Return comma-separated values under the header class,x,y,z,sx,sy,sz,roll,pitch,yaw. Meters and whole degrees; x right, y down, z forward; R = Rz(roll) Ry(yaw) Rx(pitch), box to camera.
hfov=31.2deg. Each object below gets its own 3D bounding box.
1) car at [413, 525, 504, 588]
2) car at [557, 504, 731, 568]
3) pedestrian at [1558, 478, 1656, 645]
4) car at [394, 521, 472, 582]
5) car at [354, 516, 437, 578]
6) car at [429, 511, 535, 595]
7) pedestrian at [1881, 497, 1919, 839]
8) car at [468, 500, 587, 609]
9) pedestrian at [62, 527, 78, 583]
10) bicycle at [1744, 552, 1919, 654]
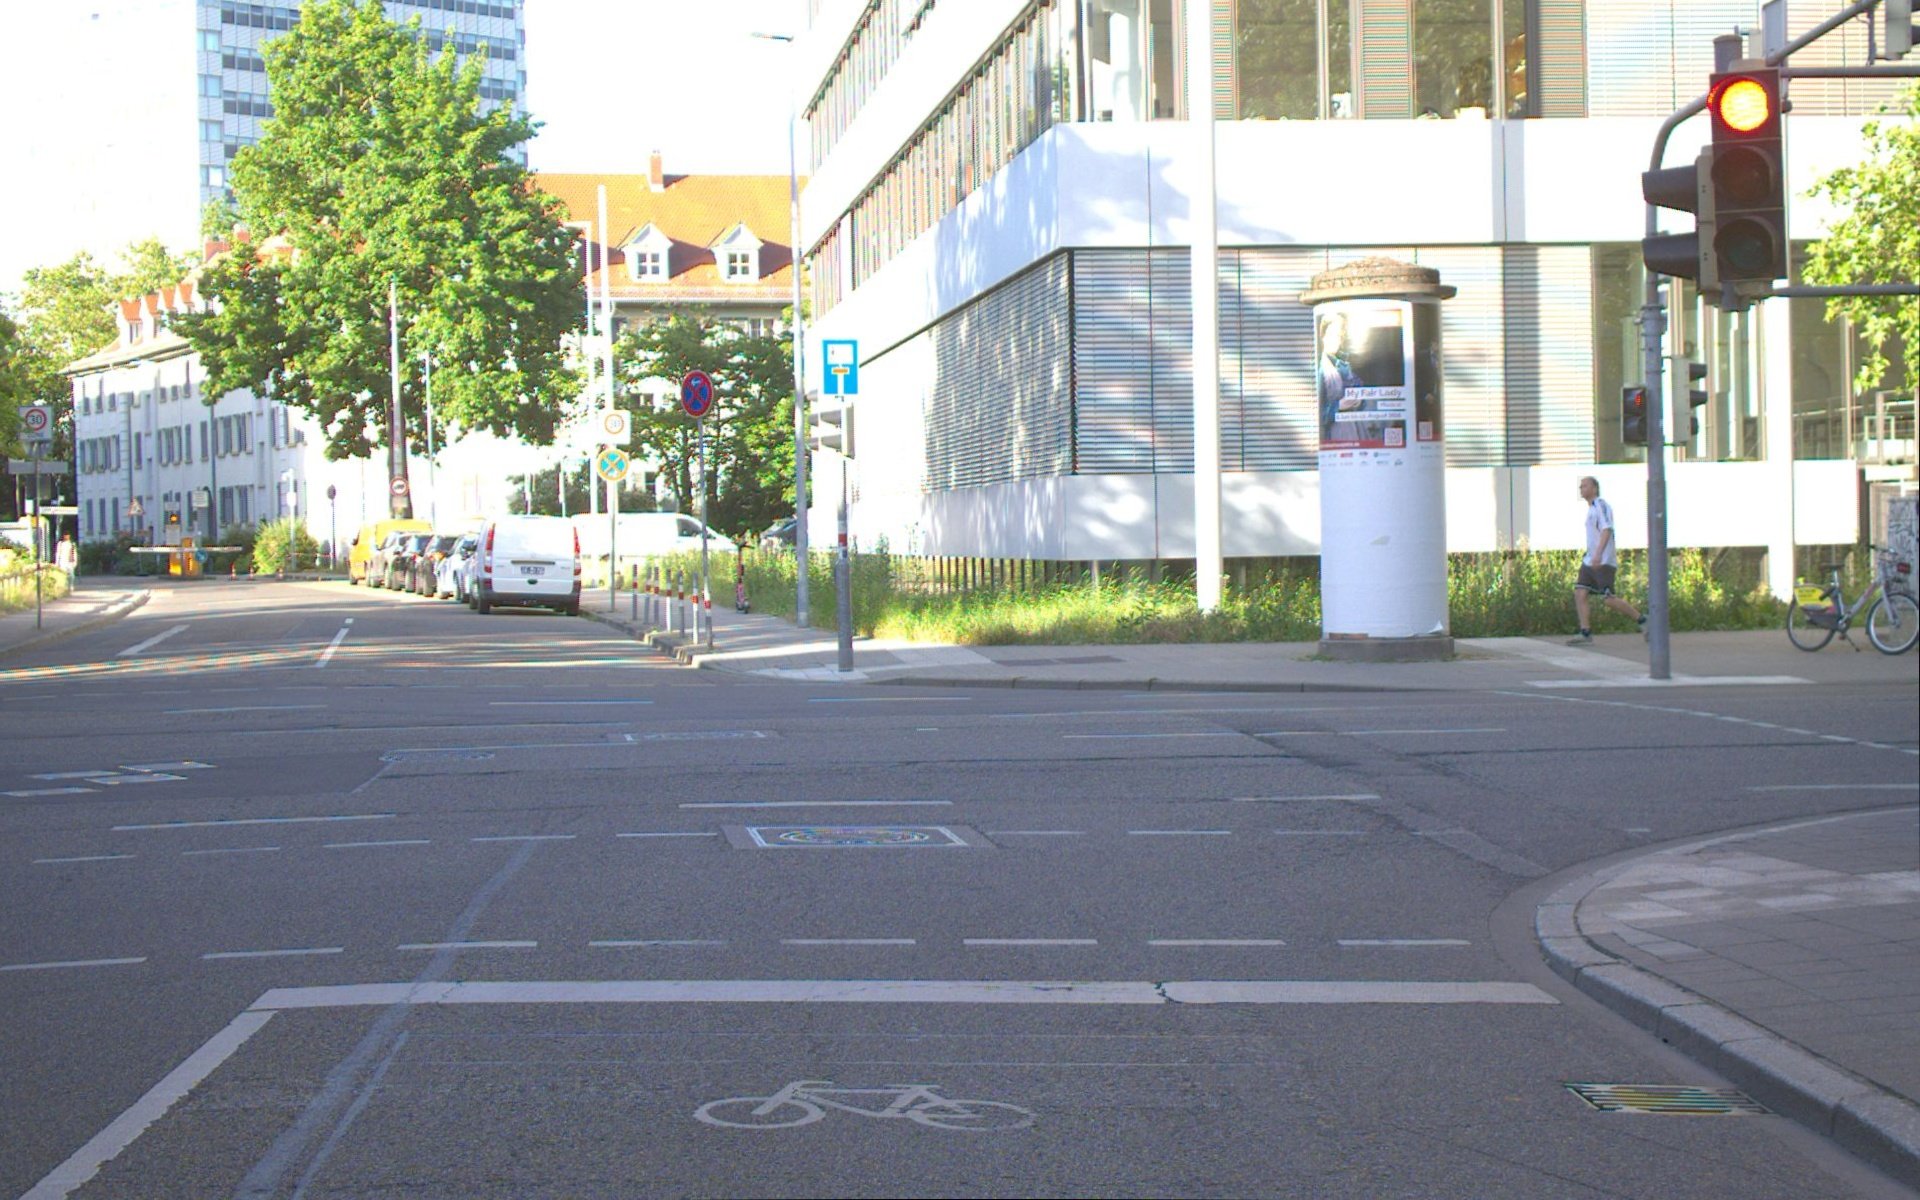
class,x,y,z,sx,sy,sz,roll,pitch,yaw
car,-11.901,-1.040,81.393,1.703,1.419,4.239,-1,1,-14
car,-9.466,-1.896,102.770,4.880,1.865,2.001,0,0,-16
pedestrian,7.156,-0.428,38.036,1.038,1.824,0.539,-1,1,11
car,-13.182,-1.228,85.827,1.703,1.459,4.239,-1,1,-11
car,-15.730,-1.494,95.648,2.100,1.652,4.477,-1,1,-11
car,-10.665,-1.064,76.550,1.946,1.789,4.239,-1,1,-13
pedestrian,4.914,0.281,16.030,0.955,1.568,0.749,-4,1,28
car,-8.163,-0.877,64.632,2.066,1.956,4.239,-1,1,-9
pedestrian,-24.533,-1.239,94.789,0.380,1.529,0.446,-1,1,-12
bicycle,9.183,0.023,36.106,0.463,1.045,1.914,-2,2,-42
